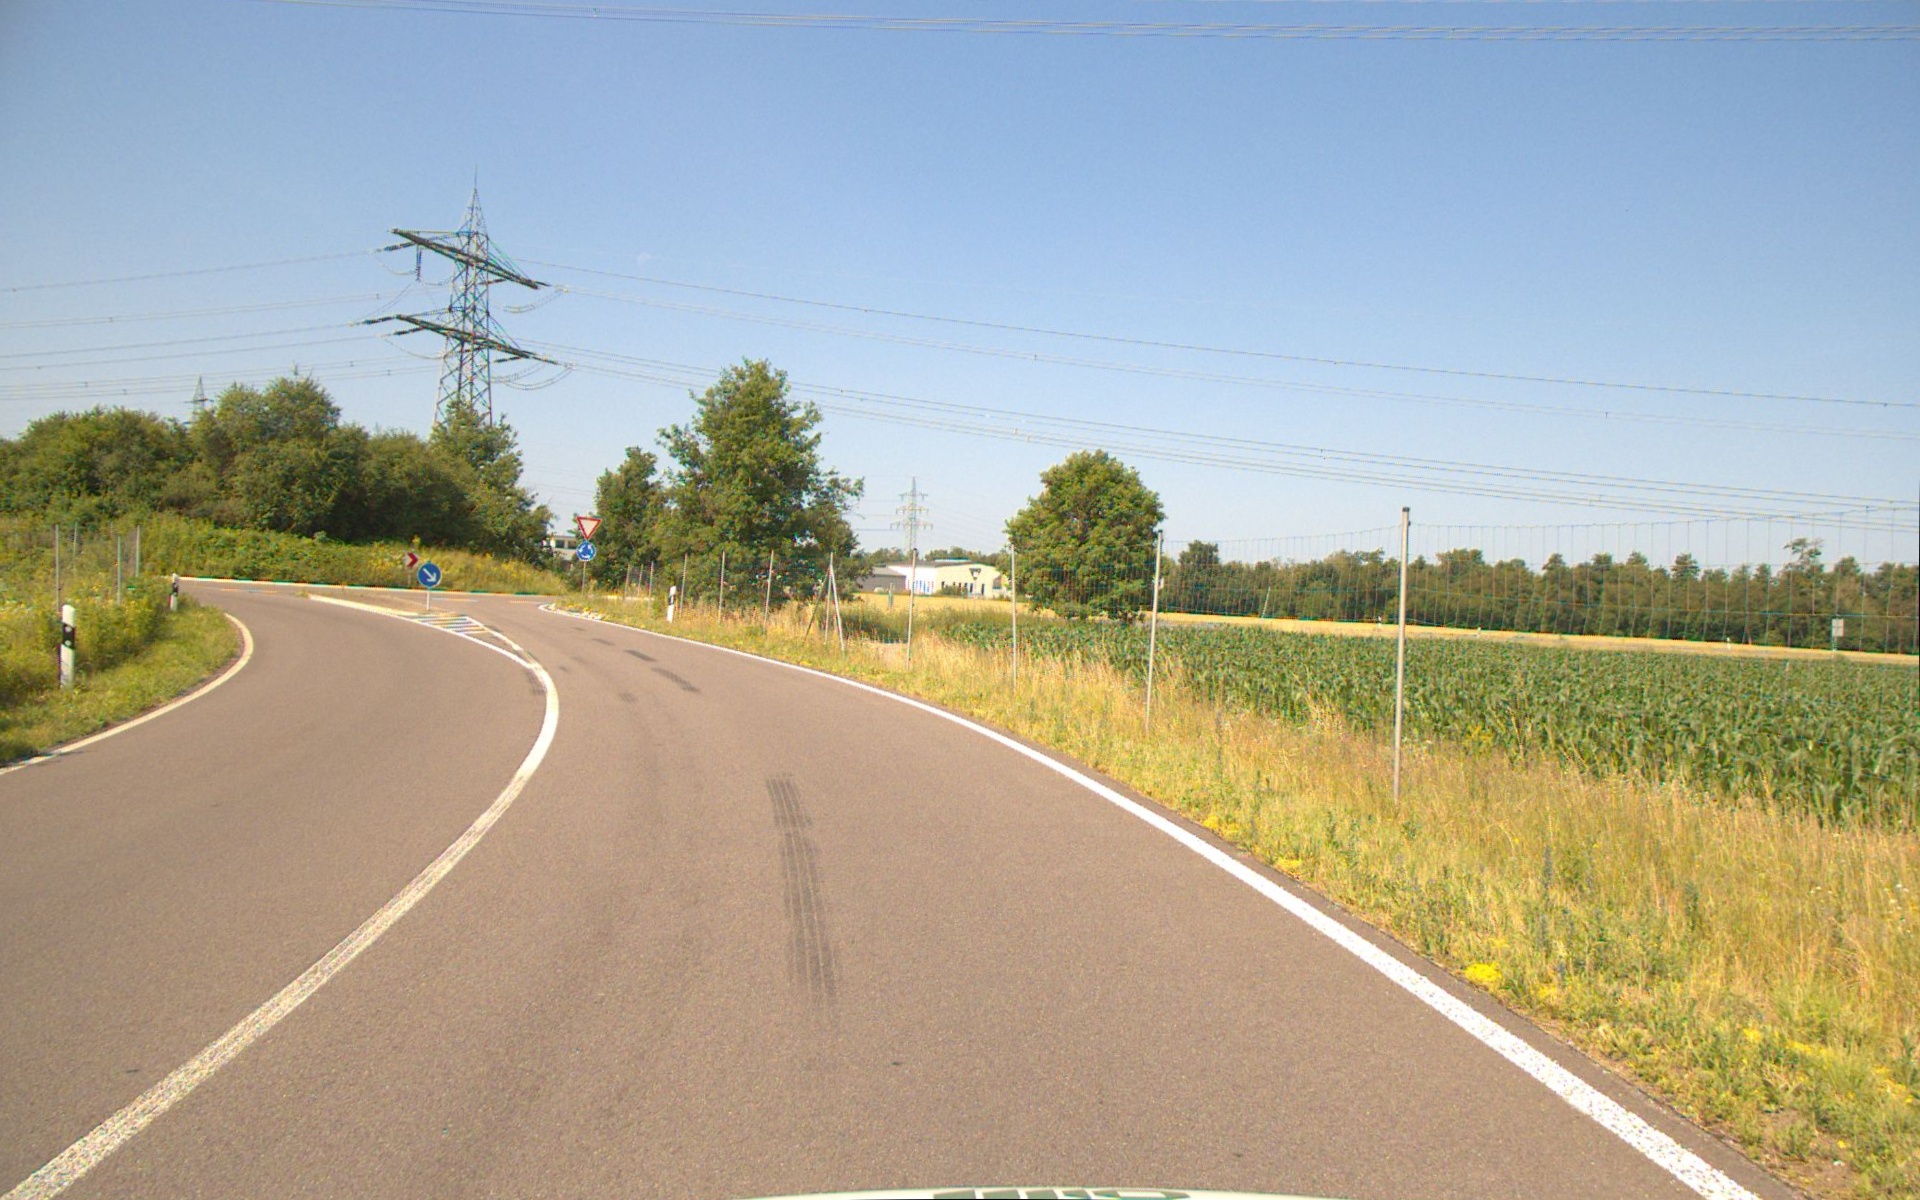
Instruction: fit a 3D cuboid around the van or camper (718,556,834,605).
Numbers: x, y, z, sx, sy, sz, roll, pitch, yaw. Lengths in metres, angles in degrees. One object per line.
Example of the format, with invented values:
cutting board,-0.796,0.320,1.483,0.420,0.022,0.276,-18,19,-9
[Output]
van or camper,-9.652,-1.019,87.092,5.684,2.306,1.982,3,0,-28
